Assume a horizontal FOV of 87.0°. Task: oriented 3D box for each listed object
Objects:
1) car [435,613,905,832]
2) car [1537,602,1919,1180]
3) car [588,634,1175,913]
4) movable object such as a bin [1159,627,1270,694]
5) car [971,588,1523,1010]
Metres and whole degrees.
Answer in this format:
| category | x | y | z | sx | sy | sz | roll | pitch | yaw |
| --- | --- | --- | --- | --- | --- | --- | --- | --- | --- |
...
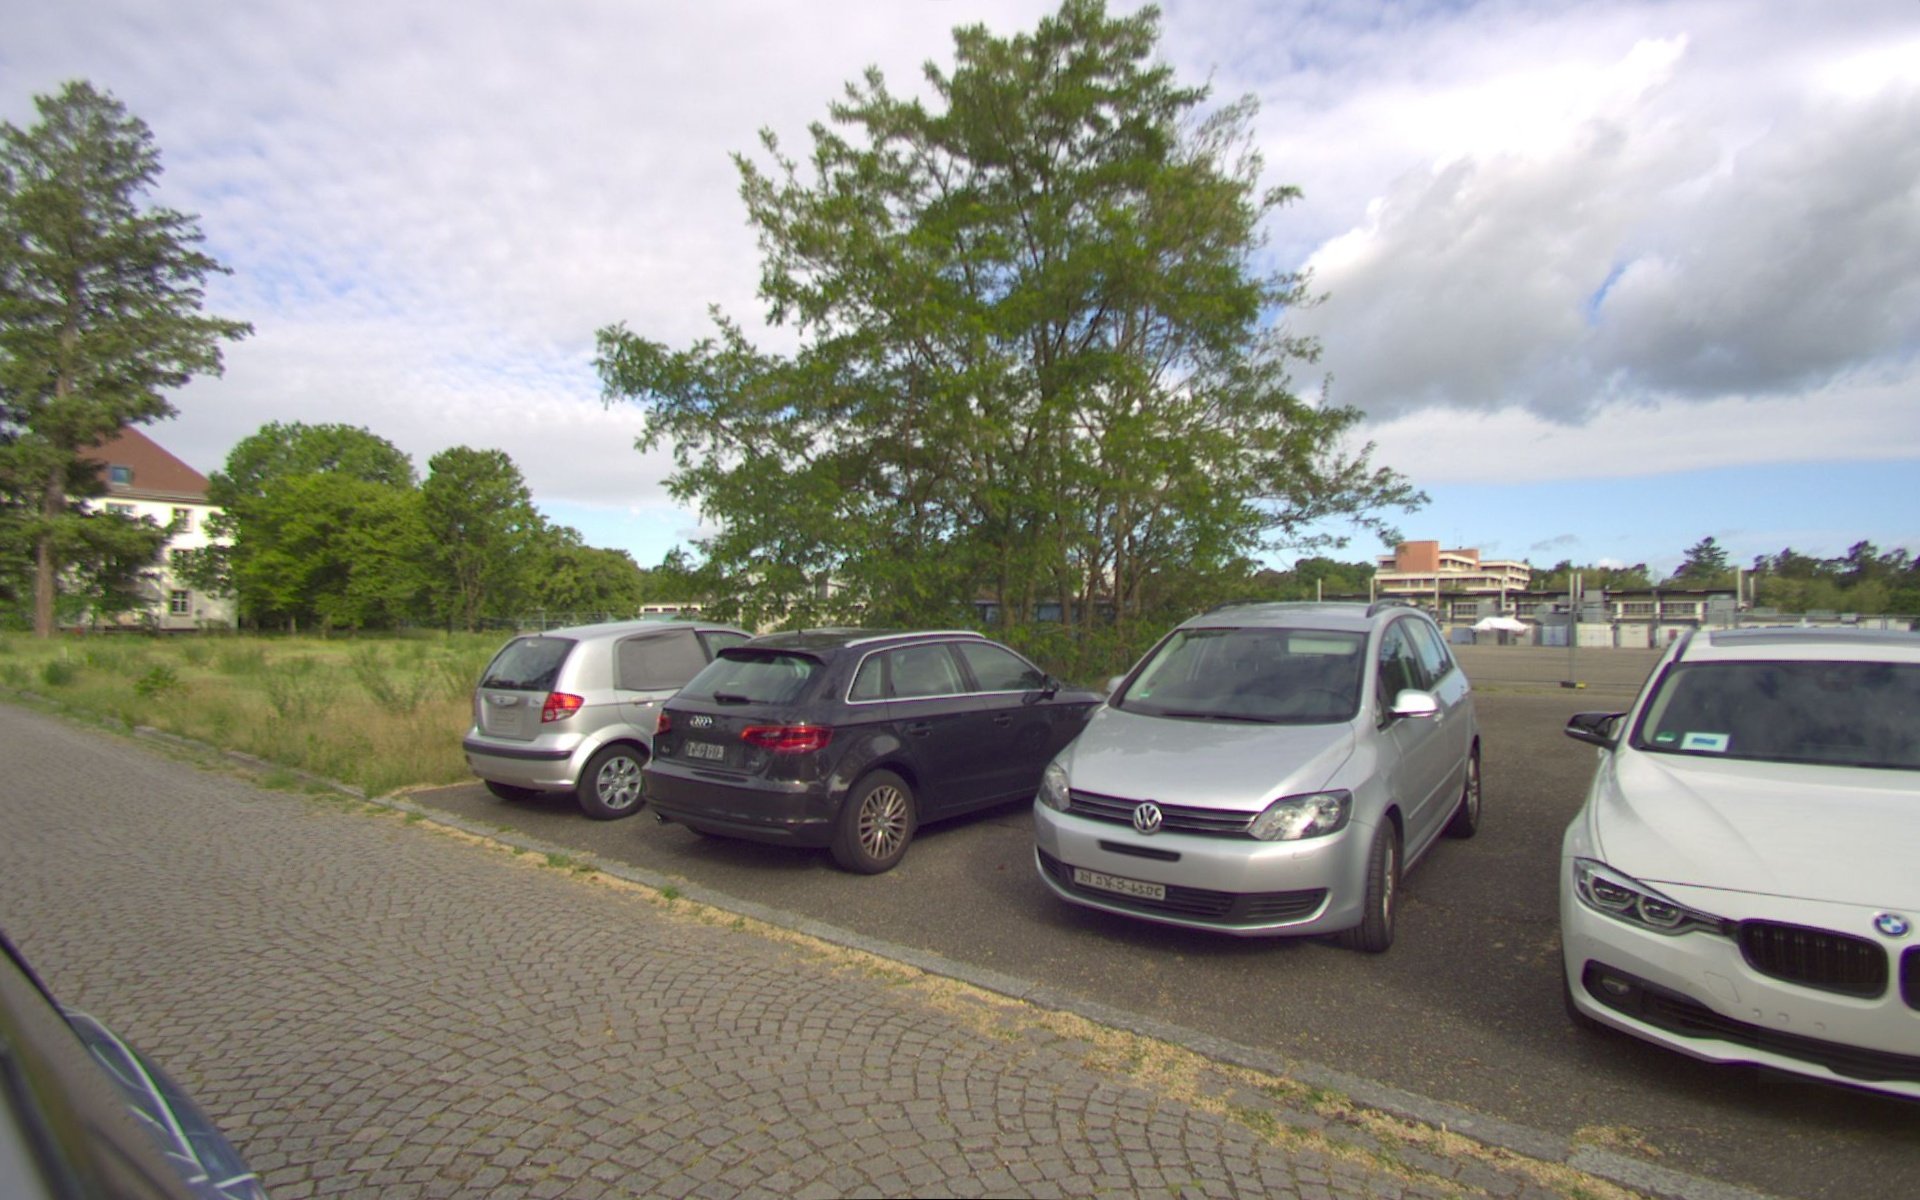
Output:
| category | x | y | z | sx | sy | sz | roll | pitch | yaw |
| --- | --- | --- | --- | --- | --- | --- | --- | --- | --- |
| car | -2.383 | 0.891 | 9.208 | 1.677 | 1.467 | 3.939 | -1 | 0 | 35 |
| car | 4.050 | 0.780 | 4.534 | 1.911 | 1.450 | 4.761 | -1 | 0 | 37 |
| car | -0.229 | 0.992 | 7.670 | 1.882 | 1.433 | 4.576 | -1 | -2 | 37 |
| movable object such as a bin | 5.054 | 1.161 | 19.967 | 1.169 | 1.221 | 2.505 | -1 | -2 | 39 |
| car | 2.097 | 0.771 | 6.204 | 1.844 | 1.602 | 4.433 | -1 | -1 | 36 |
